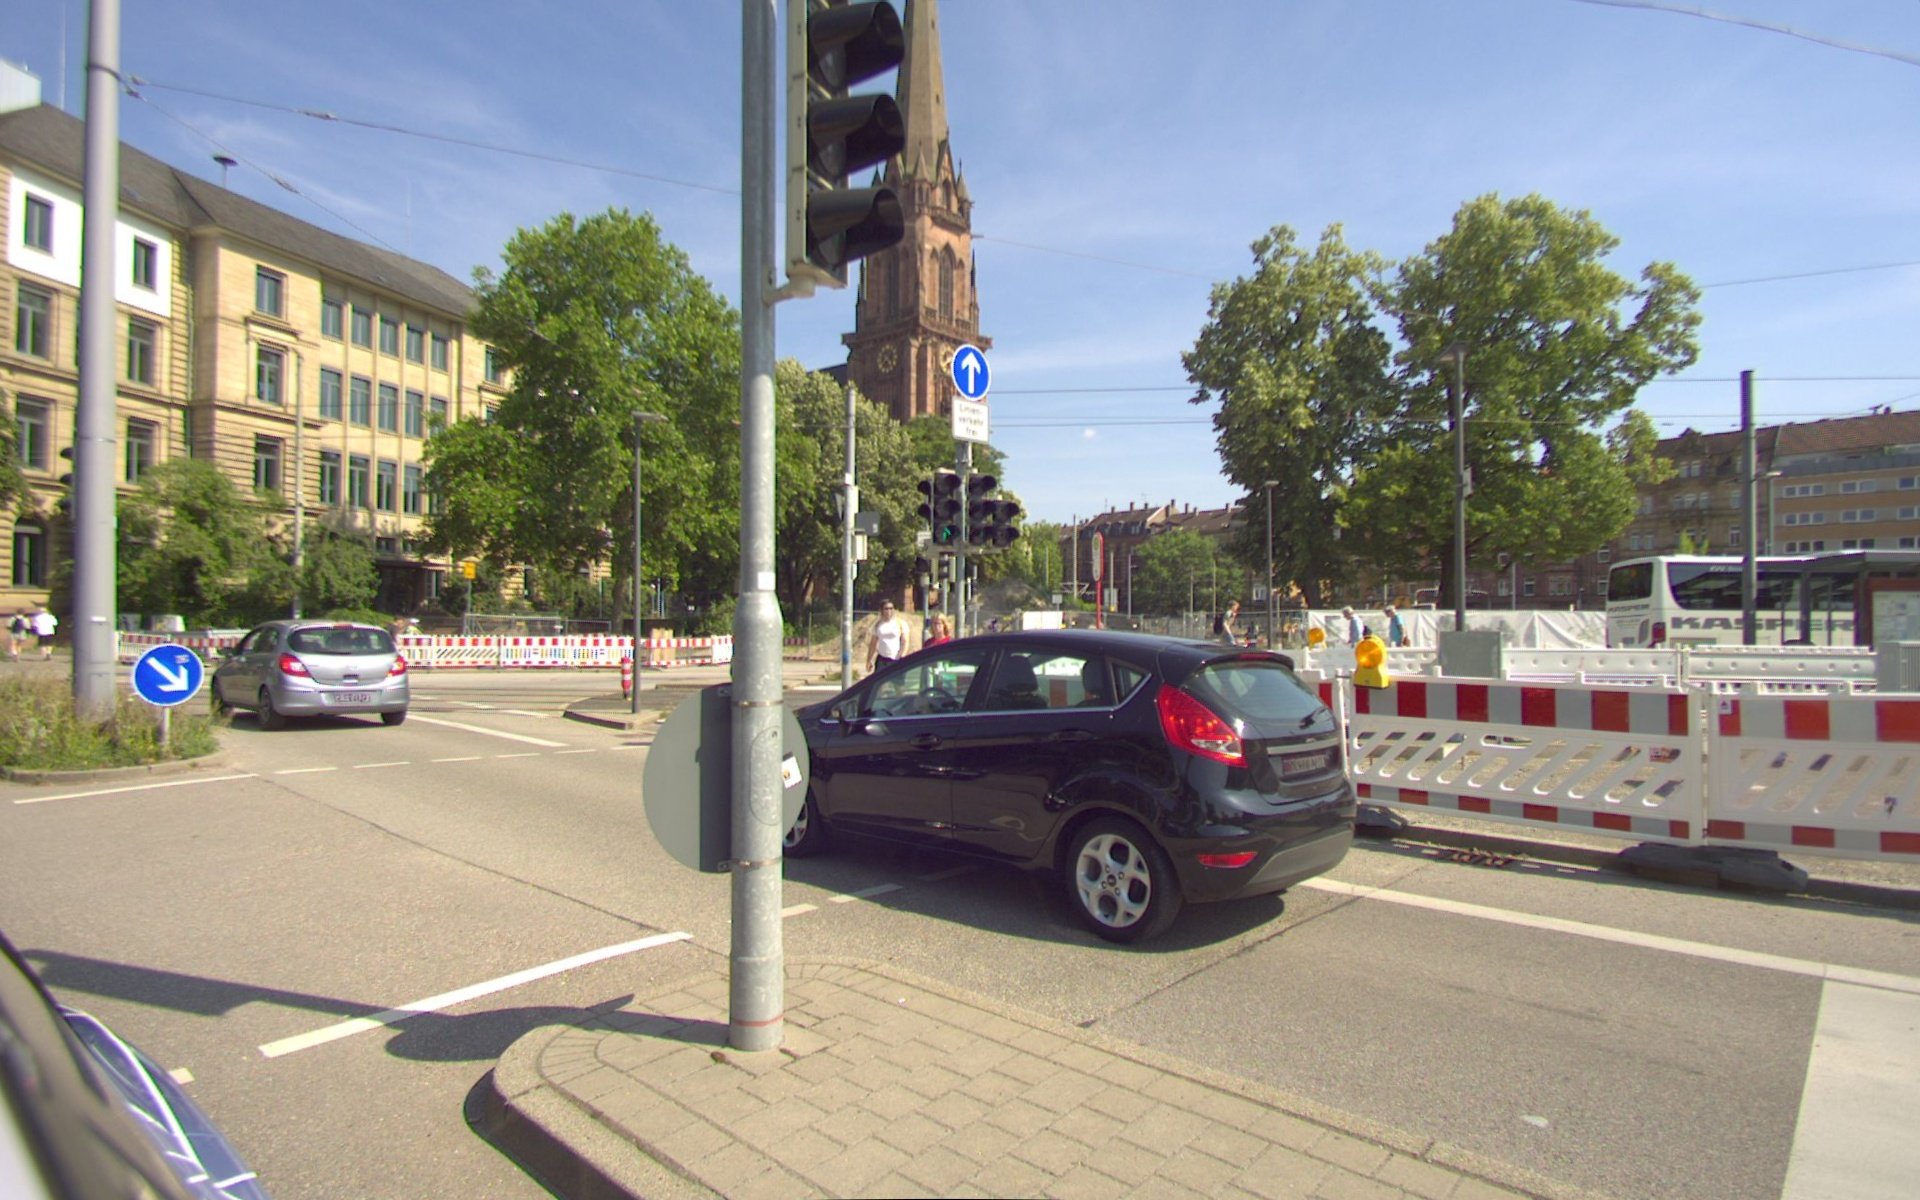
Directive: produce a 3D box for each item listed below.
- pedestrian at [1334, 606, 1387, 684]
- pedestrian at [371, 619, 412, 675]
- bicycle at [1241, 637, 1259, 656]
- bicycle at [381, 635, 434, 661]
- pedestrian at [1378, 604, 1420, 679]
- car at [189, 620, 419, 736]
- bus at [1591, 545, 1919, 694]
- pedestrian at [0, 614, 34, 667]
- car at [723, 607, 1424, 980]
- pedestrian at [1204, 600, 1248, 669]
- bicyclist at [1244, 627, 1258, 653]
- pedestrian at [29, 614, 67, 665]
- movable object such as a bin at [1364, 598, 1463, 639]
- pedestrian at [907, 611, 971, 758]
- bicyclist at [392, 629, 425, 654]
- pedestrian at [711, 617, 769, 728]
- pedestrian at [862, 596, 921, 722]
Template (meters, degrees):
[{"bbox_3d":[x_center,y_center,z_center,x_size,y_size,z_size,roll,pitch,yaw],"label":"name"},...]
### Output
[{"bbox_3d":[8.591,0.955,21.722,0.780,1.628,0.664,0,-2,-26],"label":"pedestrian"},{"bbox_3d":[-17.216,1.418,30.632,0.925,1.668,0.845,2,-2,-40],"label":"pedestrian"},{"bbox_3d":[15.442,2.464,53.847,0.757,0.930,2.055,0,-2,21],"label":"bicycle"},{"bbox_3d":[-20.906,1.803,38.291,1.643,0.954,0.701,0,-2,3],"label":"bicycle"},{"bbox_3d":[9.702,0.916,22.404,0.577,1.628,0.689,-1,-2,-1],"label":"pedestrian"},{"bbox_3d":[-9.463,1.039,14.485,3.999,1.422,1.774,-1,-4,43],"label":"car"},{"bbox_3d":[23.211,0.511,25.244,12.507,3.516,2.856,0,-2,7],"label":"bus"},{"bbox_3d":[-31.901,1.360,34.165,0.732,1.763,0.586,1,-2,-16],"label":"pedestrian"},{"bbox_3d":[0.436,0.828,5.900,3.817,1.462,1.648,-1,-4,43],"label":"car"},{"bbox_3d":[6.755,0.880,25.754,0.922,1.726,0.558,0,-2,-4],"label":"pedestrian"},{"bbox_3d":[15.477,2.129,53.816,0.615,1.370,1.165,0,-2,20],"label":"bicyclist"},{"bbox_3d":[-31.495,1.355,34.956,0.732,1.763,0.586,1,-2,-16],"label":"pedestrian"},{"bbox_3d":[34.756,1.458,77.628,6.542,3.032,2.551,-1,-2,37],"label":"movable object such as a bin"},{"bbox_3d":[-0.246,0.947,11.629,0.686,1.628,0.346,-2,-3,43],"label":"pedestrian"},{"bbox_3d":[-20.869,1.566,38.305,0.858,0.934,0.682,0,-2,3],"label":"bicyclist"},{"bbox_3d":[-3.186,1.042,14.671,0.665,1.555,0.419,-2,1,28],"label":"pedestrian"},{"bbox_3d":[-1.040,0.870,15.181,0.828,1.826,0.650,0,-2,-7],"label":"pedestrian"}]
